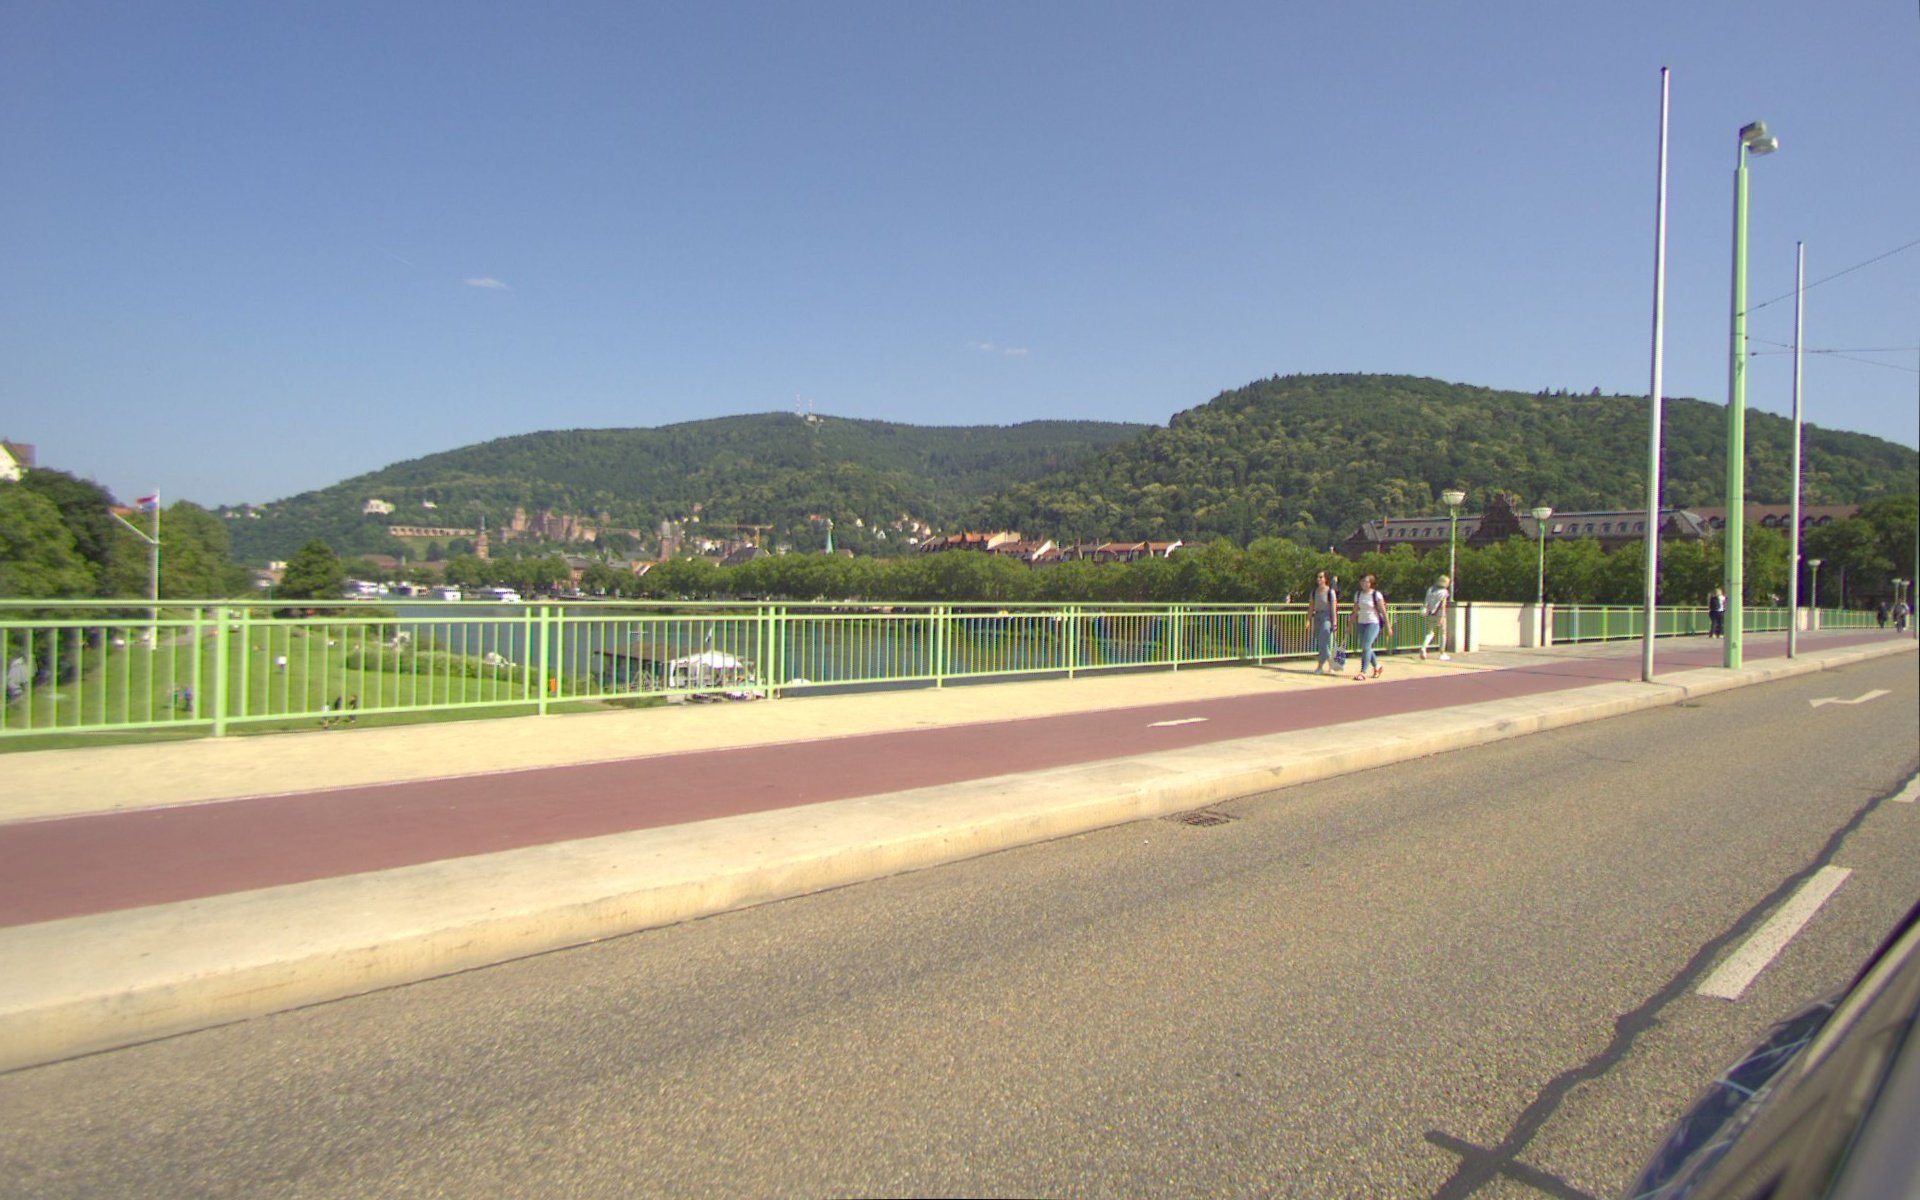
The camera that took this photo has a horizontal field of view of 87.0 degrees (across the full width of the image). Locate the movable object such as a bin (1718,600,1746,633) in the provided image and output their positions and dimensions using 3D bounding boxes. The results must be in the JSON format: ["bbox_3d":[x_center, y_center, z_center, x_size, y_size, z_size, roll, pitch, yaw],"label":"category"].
[{"bbox_3d":[26.796,0.578,35.110,0.917,1.104,0.583,0,1,-42],"label":"movable object such as a bin"}]

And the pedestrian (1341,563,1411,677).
[{"bbox_3d":[6.372,0.287,15.506,0.811,1.679,0.664,0,2,-41],"label":"pedestrian"}]

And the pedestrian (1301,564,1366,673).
[{"bbox_3d":[5.938,0.273,16.077,0.733,1.679,0.668,-1,2,-41],"label":"pedestrian"}]

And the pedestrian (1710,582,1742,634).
[{"bbox_3d":[26.161,0.265,34.566,0.844,1.727,0.664,0,2,-41],"label":"pedestrian"}]

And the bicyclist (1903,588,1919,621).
[{"bbox_3d":[49.568,0.233,52.576,0.829,1.685,0.731,1,1,-40],"label":"bicyclist"}]

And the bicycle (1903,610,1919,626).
[{"bbox_3d":[49.624,0.951,52.664,1.834,0.775,0.595,0,2,-41],"label":"bicycle"}]

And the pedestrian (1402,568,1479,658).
[{"bbox_3d":[9.415,0.234,19.827,1.063,1.683,0.949,0,2,-41],"label":"pedestrian"}]

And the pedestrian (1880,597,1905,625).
[{"bbox_3d":[58.133,0.656,63.094,1.063,1.683,0.949,1,2,-41],"label":"pedestrian"}]
